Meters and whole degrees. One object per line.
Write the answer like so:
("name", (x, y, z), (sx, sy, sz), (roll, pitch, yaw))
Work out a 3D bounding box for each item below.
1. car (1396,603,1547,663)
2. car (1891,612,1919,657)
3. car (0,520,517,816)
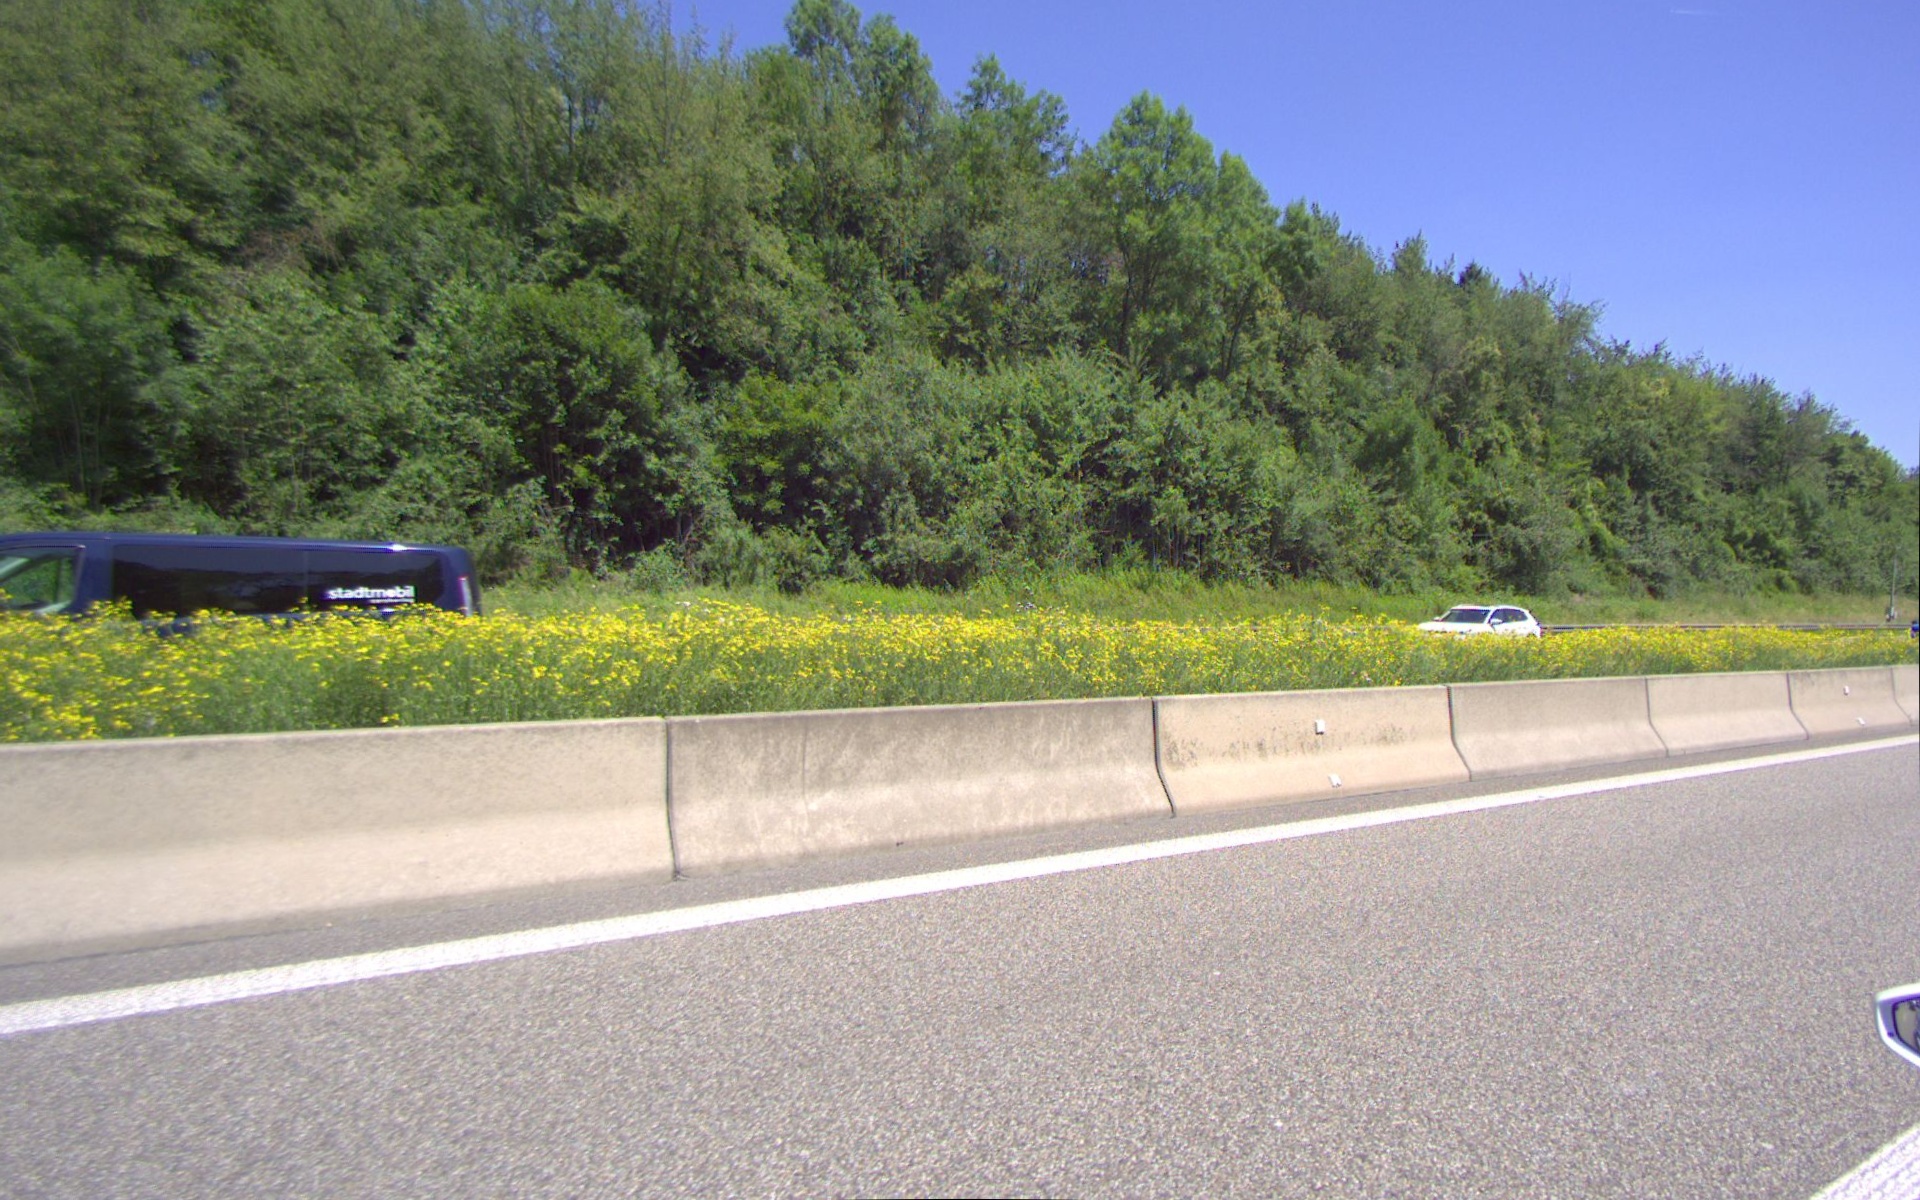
("car", (15.168, 0.949, 29.763), (4.433, 1.638, 1.983), (1, 0, -32))
("car", (39.103, 1.411, 39.921), (4.352, 1.713, 1.983), (2, -1, -32))
("car", (-6.170, 0.499, 8.319), (4.369, 2.040, 1.984), (2, -1, -30))
